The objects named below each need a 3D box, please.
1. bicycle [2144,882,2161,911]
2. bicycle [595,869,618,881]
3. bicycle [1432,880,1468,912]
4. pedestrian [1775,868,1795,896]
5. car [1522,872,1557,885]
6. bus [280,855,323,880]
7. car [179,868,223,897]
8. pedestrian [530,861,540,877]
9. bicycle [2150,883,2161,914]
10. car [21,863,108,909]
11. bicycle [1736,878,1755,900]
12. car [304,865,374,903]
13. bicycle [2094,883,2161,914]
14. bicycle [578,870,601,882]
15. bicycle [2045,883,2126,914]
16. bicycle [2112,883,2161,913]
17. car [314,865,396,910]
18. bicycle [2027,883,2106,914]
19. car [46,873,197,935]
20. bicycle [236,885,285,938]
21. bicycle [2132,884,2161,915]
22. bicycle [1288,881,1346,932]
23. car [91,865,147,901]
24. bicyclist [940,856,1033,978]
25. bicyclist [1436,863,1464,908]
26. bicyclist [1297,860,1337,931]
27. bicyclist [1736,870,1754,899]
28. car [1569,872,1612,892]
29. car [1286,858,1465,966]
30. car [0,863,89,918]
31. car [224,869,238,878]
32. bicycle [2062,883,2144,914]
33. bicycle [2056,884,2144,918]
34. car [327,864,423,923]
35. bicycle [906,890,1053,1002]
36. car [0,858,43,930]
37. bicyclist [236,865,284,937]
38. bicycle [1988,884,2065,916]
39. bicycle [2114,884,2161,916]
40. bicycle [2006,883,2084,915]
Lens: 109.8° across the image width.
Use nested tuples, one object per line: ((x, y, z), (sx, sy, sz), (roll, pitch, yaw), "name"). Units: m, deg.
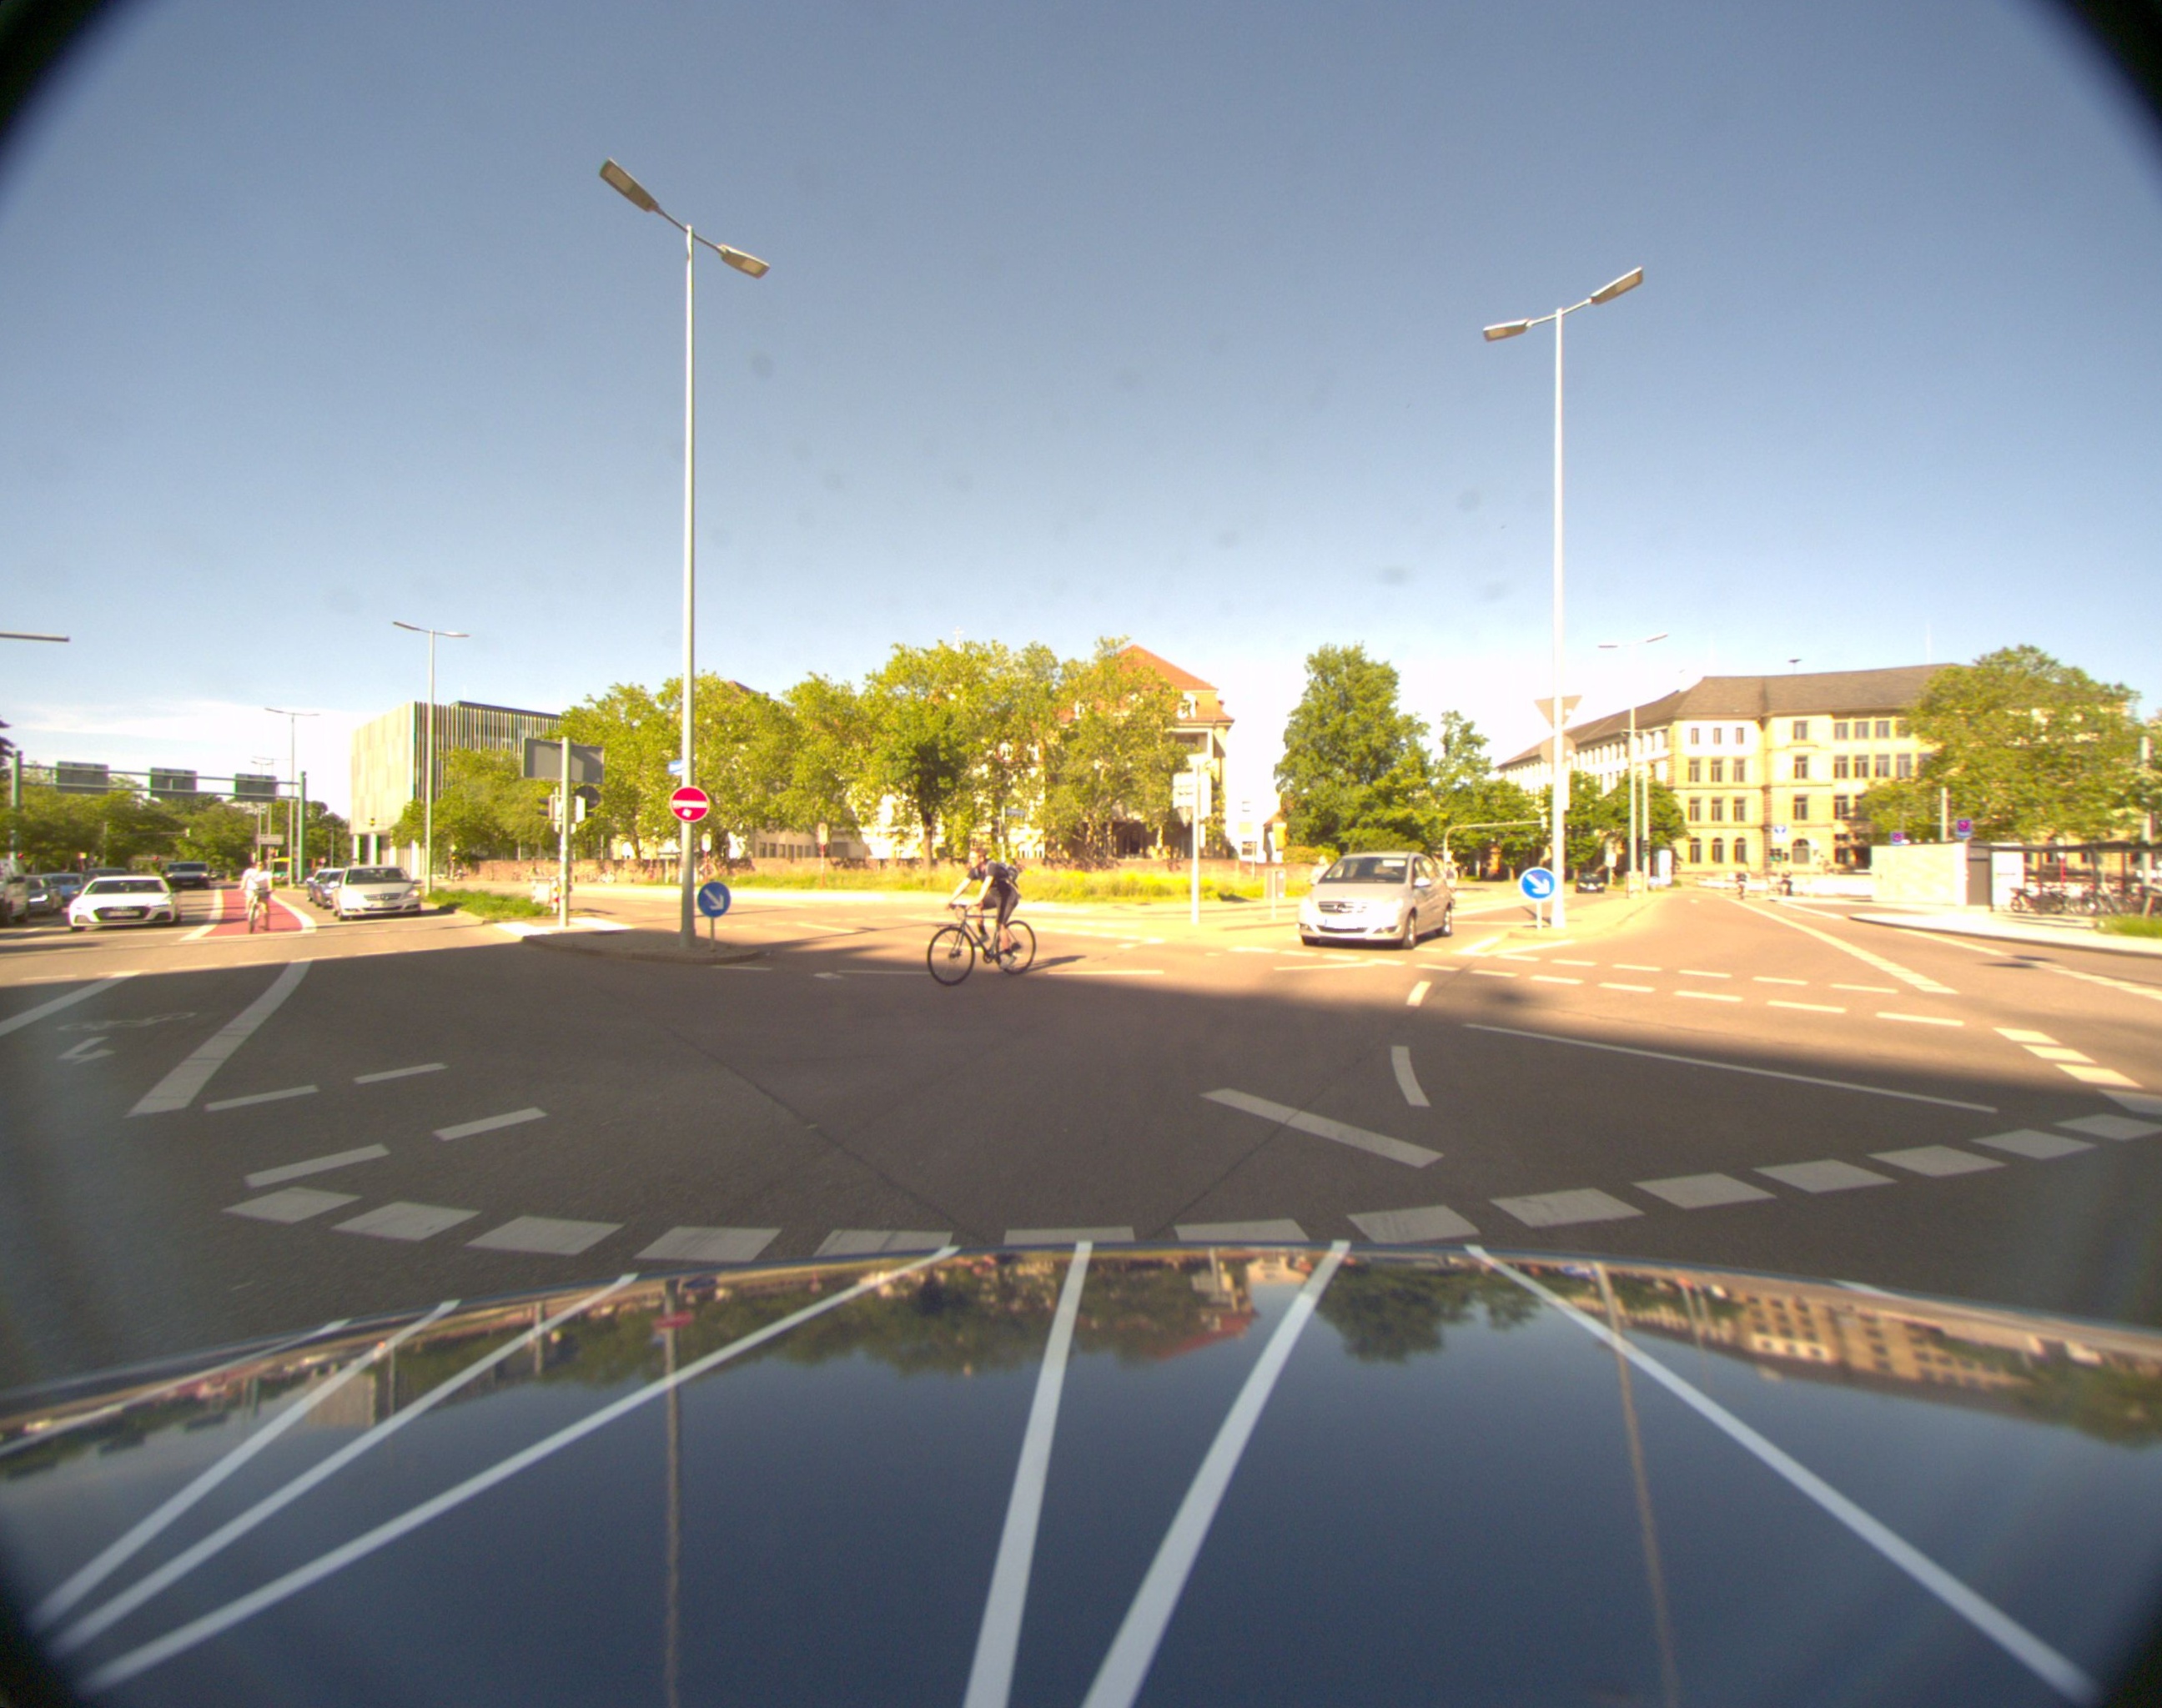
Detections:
((40.246, 1.578, 27.659), (0.567, 1.032, 1.788), (1, 0, 1), "bicycle")
((-44.699, 2.006, 71.511), (2.081, 1.069, 0.797), (-3, -2, 24), "bicycle")
((13.855, 1.558, 28.513), (0.777, 1.158, 1.972), (-2, -2, 39), "bicycle")
((42.536, 1.703, 45.883), (0.788, 1.670, 0.649), (-3, -2, 40), "pedestrian")
((64.564, 3.498, 107.040), (3.801, 1.805, 1.999), (0, -1, -9), "car")
((-108.826, 1.929, 106.053), (6.240, 3.253, 2.995), (-3, -2, 33), "bus")
((-61.556, 1.952, 53.192), (4.519, 1.941, 1.943), (-1, 0, 41), "car")
((-52.943, 1.454, 73.678), (0.557, 1.601, 0.654), (-3, -2, 37), "pedestrian")
((37.476, 1.536, 25.549), (0.567, 1.032, 1.788), (1, 0, 1), "bicycle")
((-44.501, 1.353, 33.342), (4.378, 1.818, 1.850), (-1, 0, 42), "car")
((38.080, 1.982, 43.556), (0.746, 1.158, 1.874), (1, 0, 39), "bicycle")
((-33.926, 1.324, 34.689), (4.710, 1.545, 1.988), (-1, 0, 43), "car")
((38.381, 1.614, 27.667), (0.567, 1.032, 1.788), (1, 0, 1), "bicycle")
((-46.864, 2.103, 72.395), (2.081, 1.069, 0.797), (-3, -2, 24), "bicycle")
((36.516, 1.598, 27.652), (0.567, 1.032, 1.788), (1, 0, 1), "bicycle")
((39.047, 1.610, 27.671), (0.567, 1.032, 1.788), (1, 0, 1), "bicycle")
((-28.187, 1.236, 29.450), (4.710, 1.545, 1.988), (-1, 0, 43), "car")
((35.827, 1.605, 27.665), (0.567, 1.032, 1.788), (1, 0, 1), "bicycle")
((-26.290, 1.287, 20.990), (2.004, 1.460, 3.989), (0, 0, -43), "car")
((-20.207, 1.384, 18.698), (1.864, 1.158, 0.750), (1, 0, 41), "bicycle")
((36.861, 1.570, 25.545), (0.567, 1.032, 1.788), (1, 0, 1), "bicycle")
((5.720, 1.240, 18.360), (0.641, 1.158, 1.972), (-2, -2, 39), "bicycle")
((-56.135, 1.678, 44.391), (4.743, 1.941, 1.943), (-1, 0, 39), "car")
((-1.175, 0.749, 9.515), (0.641, 1.436, 0.955), (-1, 0, 38), "bicyclist")
((13.856, 1.164, 28.528), (0.783, 1.653, 0.778), (-1, -1, 39), "bicyclist")
((5.706, 0.982, 18.360), (0.641, 1.653, 0.778), (-1, -1, 39), "bicyclist")
((38.126, 1.752, 43.612), (0.720, 1.611, 0.980), (1, 0, 39), "bicyclist")
((39.748, 2.167, 59.363), (1.995, 1.464, 4.306), (-3, -2, 23), "car")
((5.435, 0.915, 13.634), (1.767, 1.584, 4.649), (-1, -2, 37), "car")
((-37.399, 1.259, 27.150), (4.348, 1.788, 1.943), (-1, 0, 43), "car")
((-163.964, 3.738, 146.536), (3.589, 1.583, 1.697), (-1, 0, 41), "car")
((37.147, 1.603, 27.657), (0.567, 1.032, 1.788), (1, 0, 1), "bicycle")
((34.354, 1.579, 25.666), (0.567, 1.032, 1.788), (1, 0, 1), "bicycle")
((-21.692, 1.133, 23.303), (4.303, 1.615, 1.793), (-1, 0, 43), "car")
((-1.210, 1.080, 9.466), (0.641, 1.158, 1.874), (-1, 0, 38), "bicycle")
((-31.510, 1.123, 21.527), (4.743, 1.941, 1.943), (-1, 0, 43), "car")
((-20.134, 1.132, 18.629), (0.975, 1.675, 0.748), (1, 0, 41), "bicyclist")
((34.419, 1.655, 27.687), (0.567, 1.032, 1.788), (1, 0, 1), "bicycle")
((36.259, 1.568, 25.573), (0.567, 1.032, 1.788), (1, 0, 1), "bicycle")
((35.071, 1.620, 27.673), (0.567, 1.032, 1.788), (1, 0, 1), "bicycle")
